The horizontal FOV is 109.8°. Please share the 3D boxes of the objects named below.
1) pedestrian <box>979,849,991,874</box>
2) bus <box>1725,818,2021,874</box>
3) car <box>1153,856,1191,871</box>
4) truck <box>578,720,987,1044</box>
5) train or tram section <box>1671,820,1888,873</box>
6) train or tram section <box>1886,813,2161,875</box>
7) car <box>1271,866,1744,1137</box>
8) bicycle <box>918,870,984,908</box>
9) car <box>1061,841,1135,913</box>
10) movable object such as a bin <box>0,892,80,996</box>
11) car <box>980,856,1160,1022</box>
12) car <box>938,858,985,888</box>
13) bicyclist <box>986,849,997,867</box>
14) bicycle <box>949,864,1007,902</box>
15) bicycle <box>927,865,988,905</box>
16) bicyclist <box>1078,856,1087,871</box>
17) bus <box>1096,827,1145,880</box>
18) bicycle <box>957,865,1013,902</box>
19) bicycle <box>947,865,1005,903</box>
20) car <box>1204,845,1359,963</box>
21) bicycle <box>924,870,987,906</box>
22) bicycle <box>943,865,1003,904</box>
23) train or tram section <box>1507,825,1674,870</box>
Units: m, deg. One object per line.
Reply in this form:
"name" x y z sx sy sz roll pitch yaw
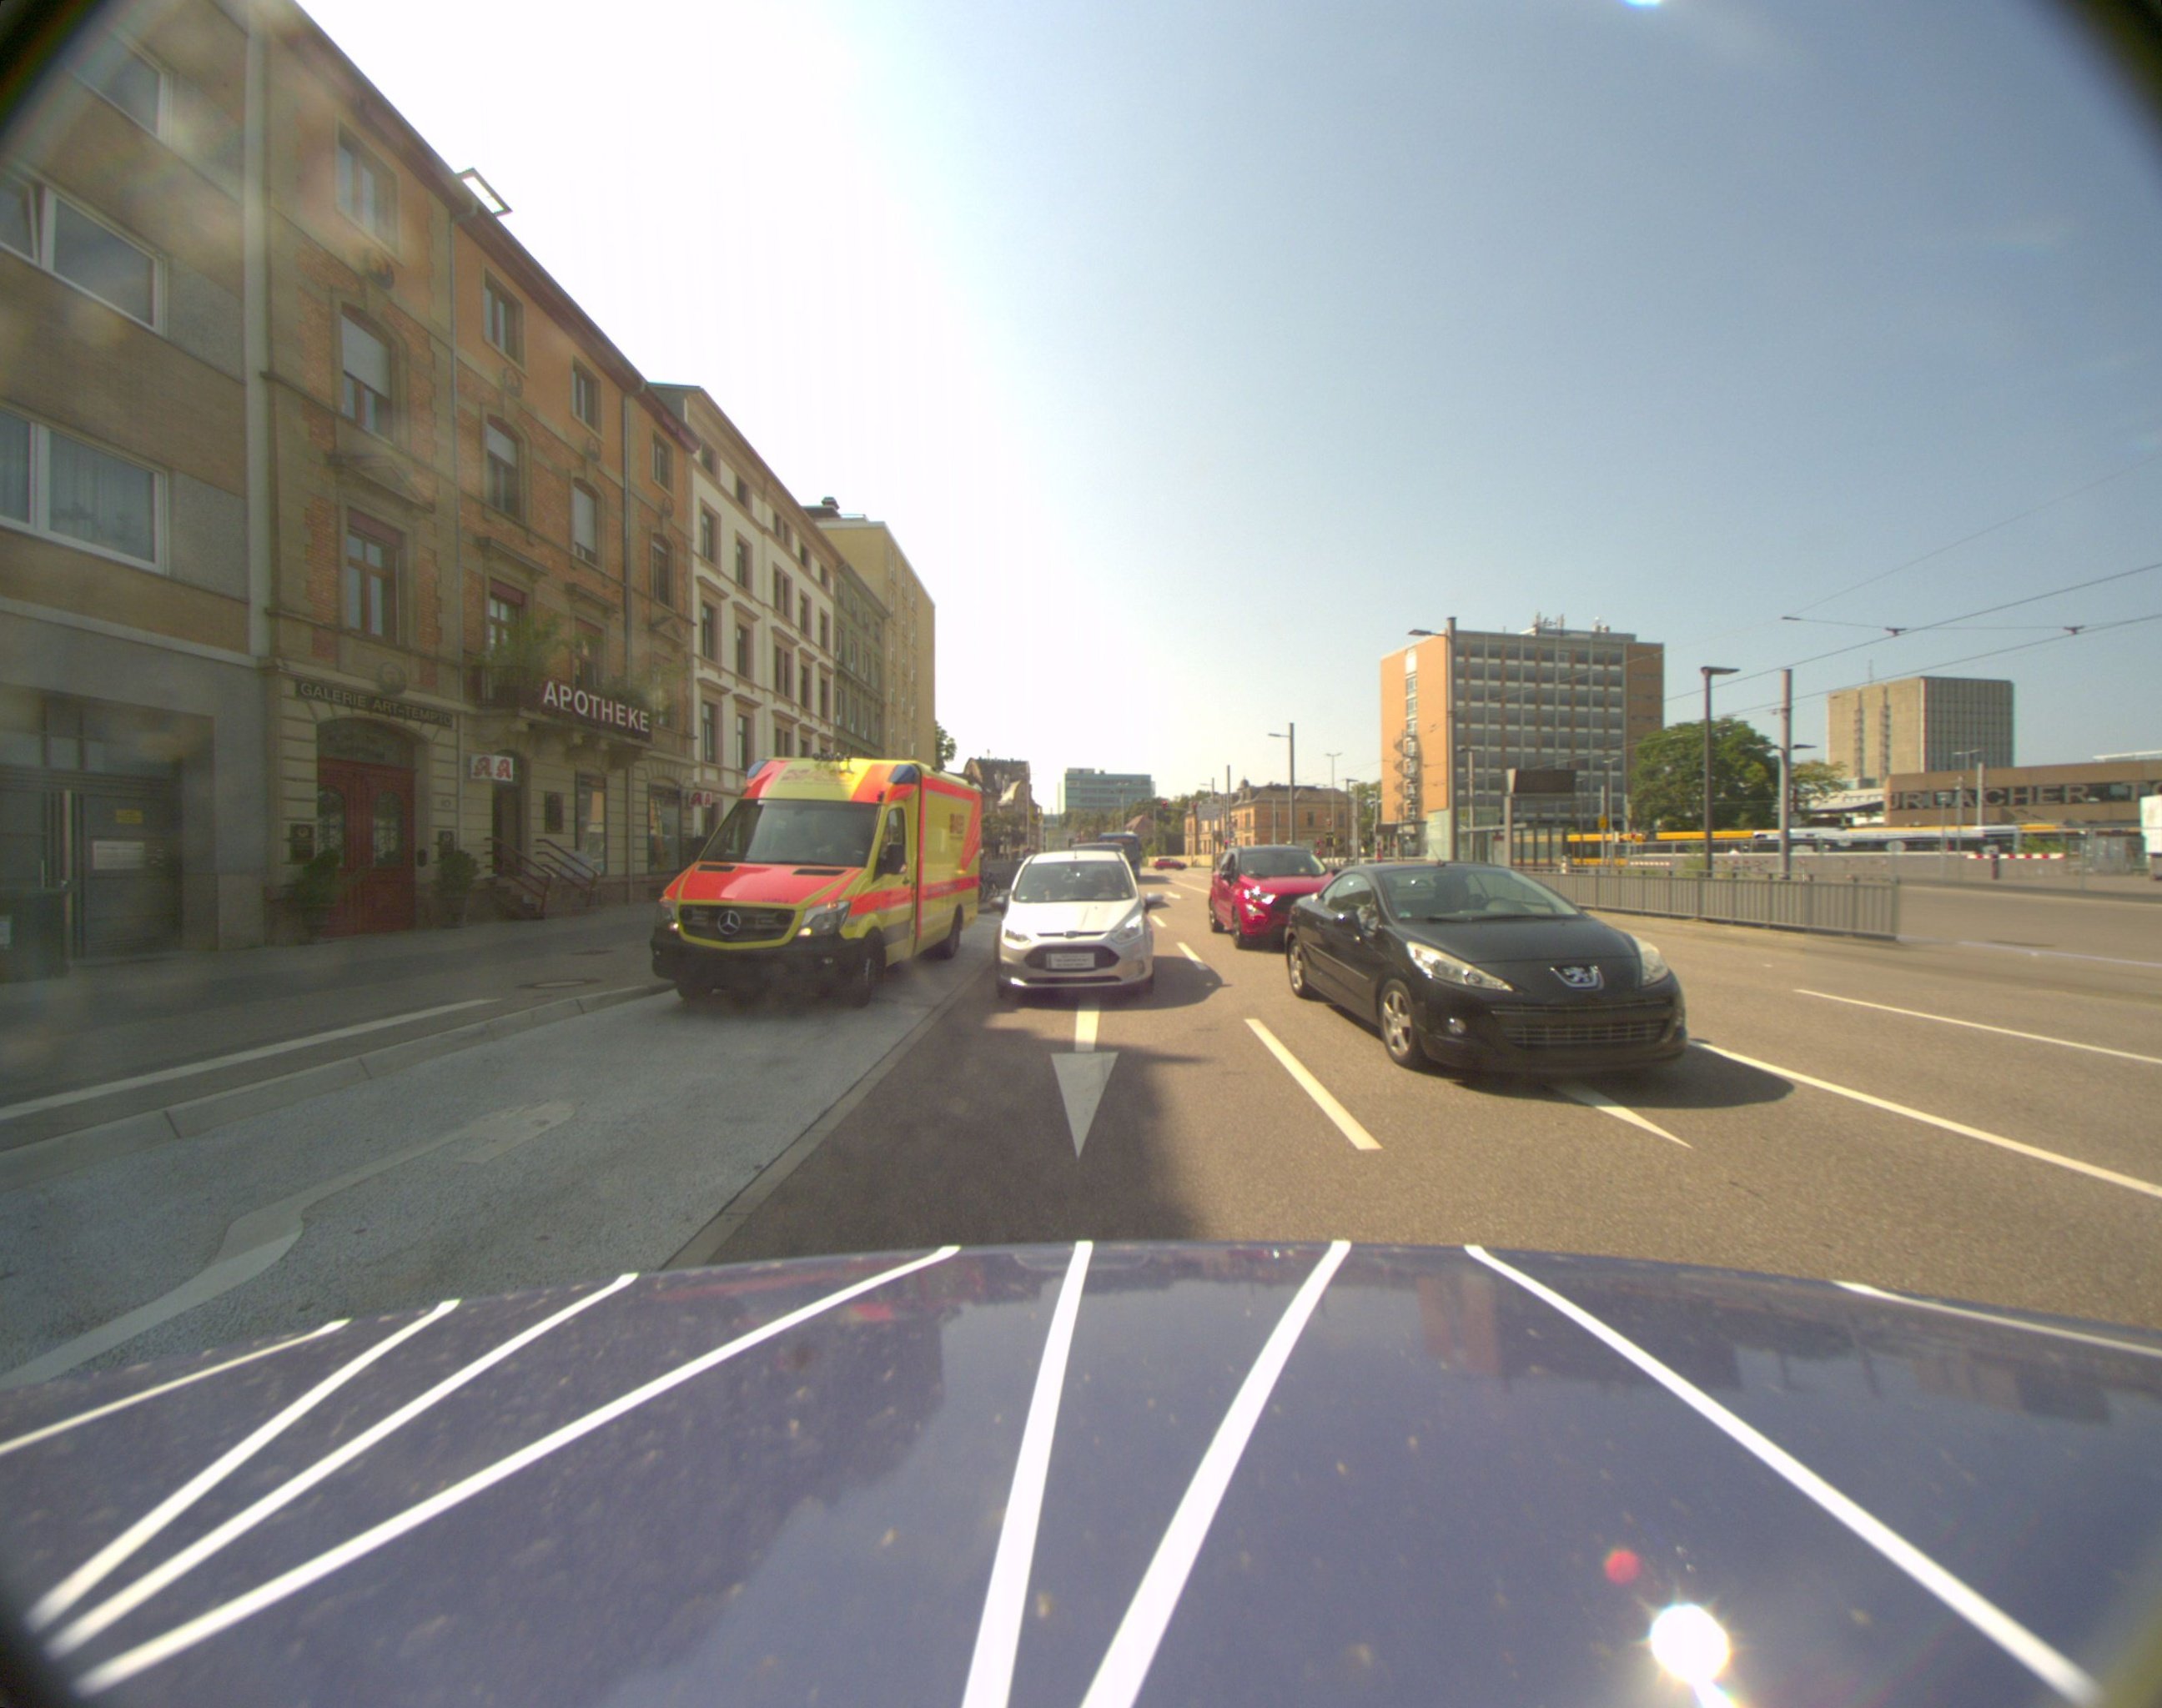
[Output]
"pedestrian" -6.310 0.465 50.047 0.645 1.619 0.796 1 0 -1
"bus" 52.210 -0.386 51.016 3.357 3.275 13.371 -3 0 -45
"car" 11.300 1.148 94.170 4.278 1.722 1.886 -2 0 18
"truck" -3.025 0.216 9.797 2.333 2.754 6.340 2 1 4
"train or tram section" 53.983 -0.533 59.366 12.331 3.743 2.004 0 0 45
"train or tram section" 62.715 -0.607 50.638 12.331 3.743 2.004 0 0 45
"car" 2.868 0.857 6.155 1.692 1.405 3.801 -2 0 0
"bicycle" -3.952 1.063 23.162 1.841 1.054 0.657 -2 0 1
"car" 0.520 0.632 23.639 1.998 1.953 4.816 -2 0 1
"movable object such as a bin" -12.032 0.993 8.552 0.648 1.098 0.727 1 0 -25
"car" -0.062 0.840 9.422 1.728 1.579 4.000 -1 0 1
"car" -6.220 0.965 39.943 1.666 1.418 3.934 2 0 2
"bicyclist" -7.959 0.330 67.594 0.721 1.577 1.103 -1 0 2
"bicycle" -3.485 0.981 25.768 1.841 1.212 0.434 -2 1 1
"bicycle" -3.976 0.986 24.471 1.841 1.196 0.549 -2 1 1
"bicyclist" 0.136 1.166 95.494 0.857 1.891 0.665 -2 1 29
"bus" 2.707 -0.073 52.554 2.919 3.119 12.346 -2 0 3
"bicycle" -3.394 1.035 26.846 1.841 1.196 0.637 -2 0 2
"bicycle" -3.497 0.994 25.307 1.841 1.196 0.434 -2 1 1
"car" 3.146 0.697 12.689 1.634 1.611 3.968 -2 0 2
"bicycle" -3.923 1.056 23.852 1.841 1.050 0.657 -2 0 1
"bicycle" -3.523 0.996 24.870 1.841 1.196 0.434 -2 1 1
"train or tram section" 45.256 -0.495 68.085 12.331 3.743 2.004 0 0 45
